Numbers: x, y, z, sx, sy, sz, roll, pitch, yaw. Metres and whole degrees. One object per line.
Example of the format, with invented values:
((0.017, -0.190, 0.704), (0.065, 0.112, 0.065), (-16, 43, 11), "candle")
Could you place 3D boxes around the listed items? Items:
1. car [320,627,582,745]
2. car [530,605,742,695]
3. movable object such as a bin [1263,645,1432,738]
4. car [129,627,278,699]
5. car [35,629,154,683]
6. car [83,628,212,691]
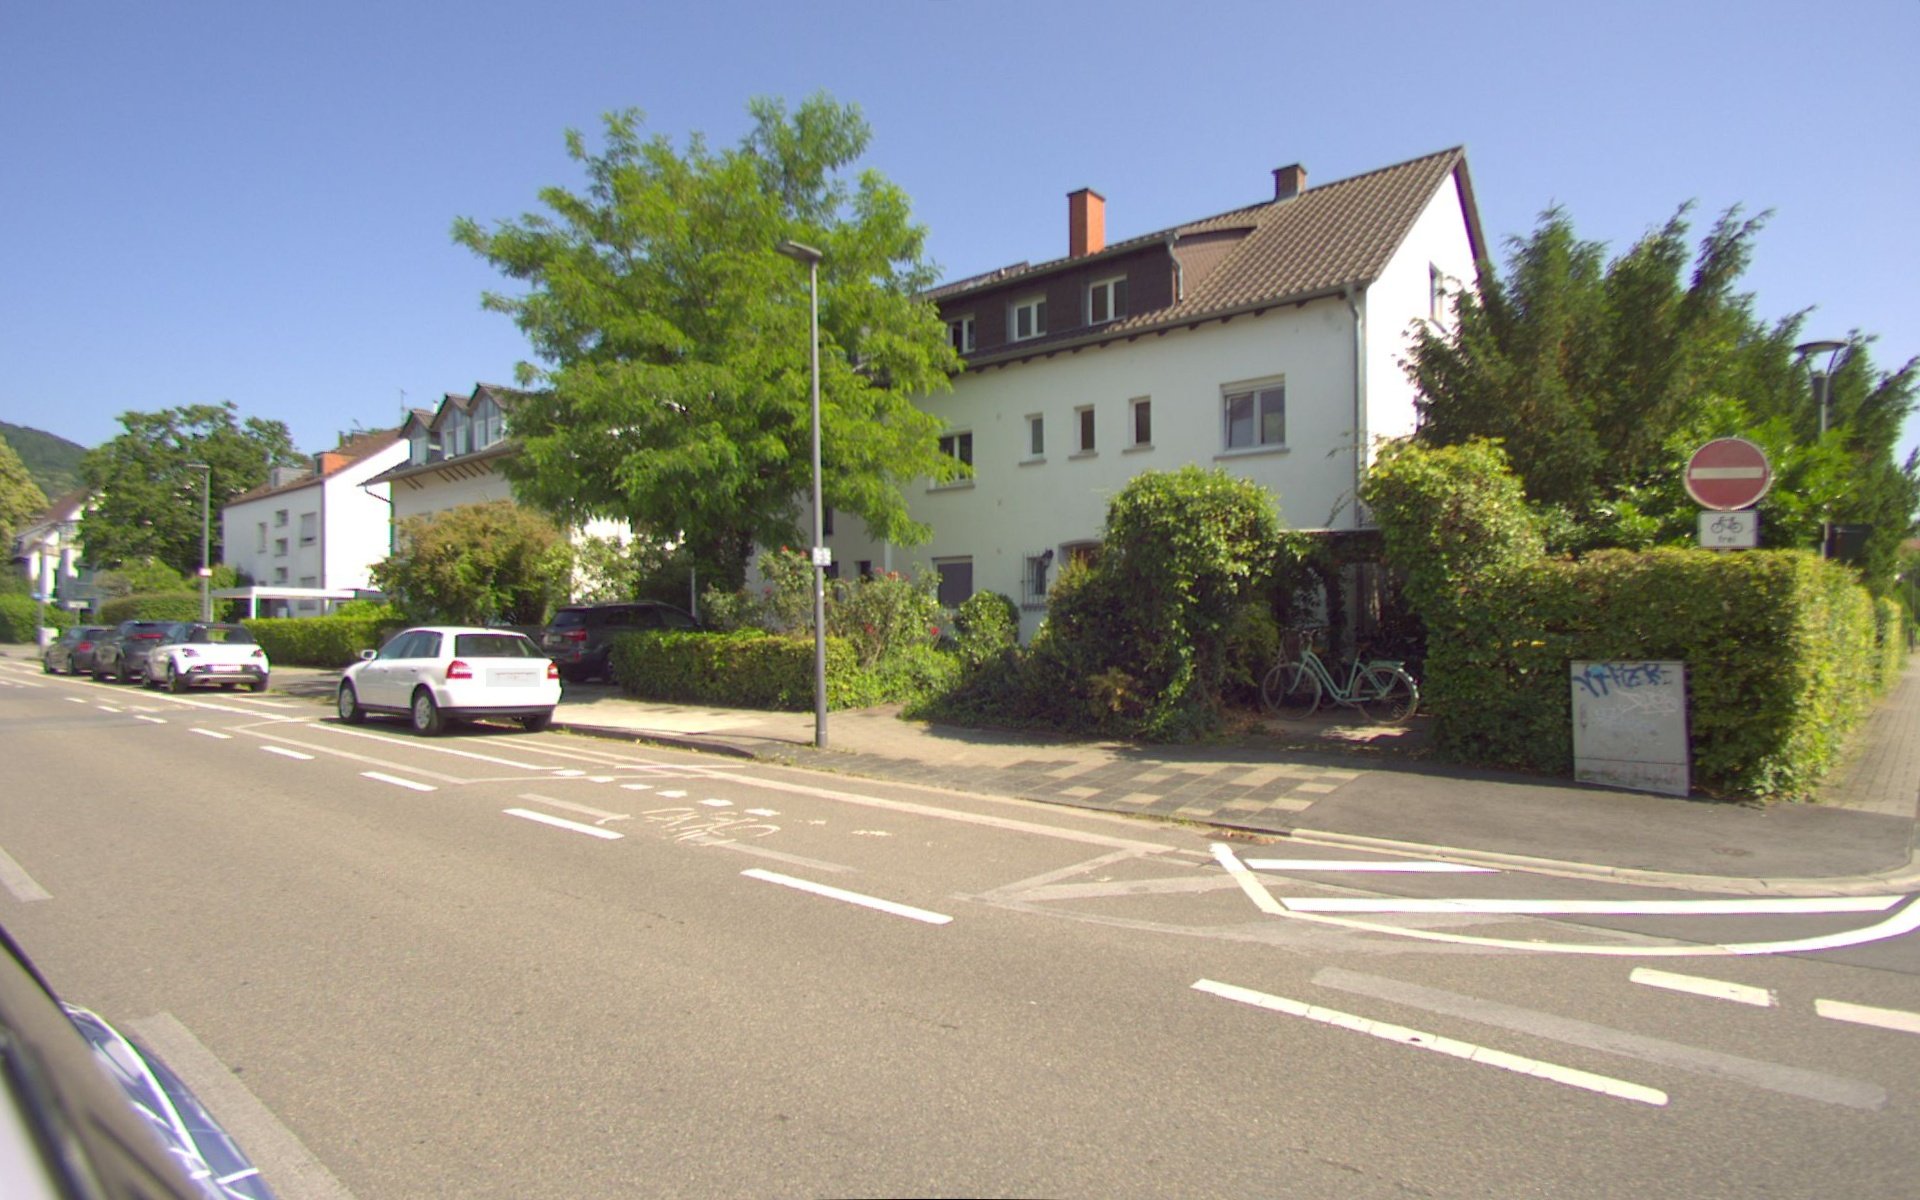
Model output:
((-7.318, 1.146, 14.433), (3.995, 1.451, 1.768), (-1, -4, 38), "car")
((-6.987, 1.038, 21.948), (3.935, 1.773, 2.004), (1, -2, -37), "car")
((4.567, 1.051, 12.026), (1.875, 0.998, 0.315), (-1, -1, 41), "movable object such as a bin")
((-16.887, 1.368, 22.530), (3.997, 1.451, 1.767), (-1, -4, 41), "car")
((-25.076, 1.597, 29.282), (4.148, 1.451, 1.768), (-1, -3, 38), "car")
((-20.337, 1.431, 25.273), (4.108, 1.451, 1.766), (-1, -3, 41), "car")
